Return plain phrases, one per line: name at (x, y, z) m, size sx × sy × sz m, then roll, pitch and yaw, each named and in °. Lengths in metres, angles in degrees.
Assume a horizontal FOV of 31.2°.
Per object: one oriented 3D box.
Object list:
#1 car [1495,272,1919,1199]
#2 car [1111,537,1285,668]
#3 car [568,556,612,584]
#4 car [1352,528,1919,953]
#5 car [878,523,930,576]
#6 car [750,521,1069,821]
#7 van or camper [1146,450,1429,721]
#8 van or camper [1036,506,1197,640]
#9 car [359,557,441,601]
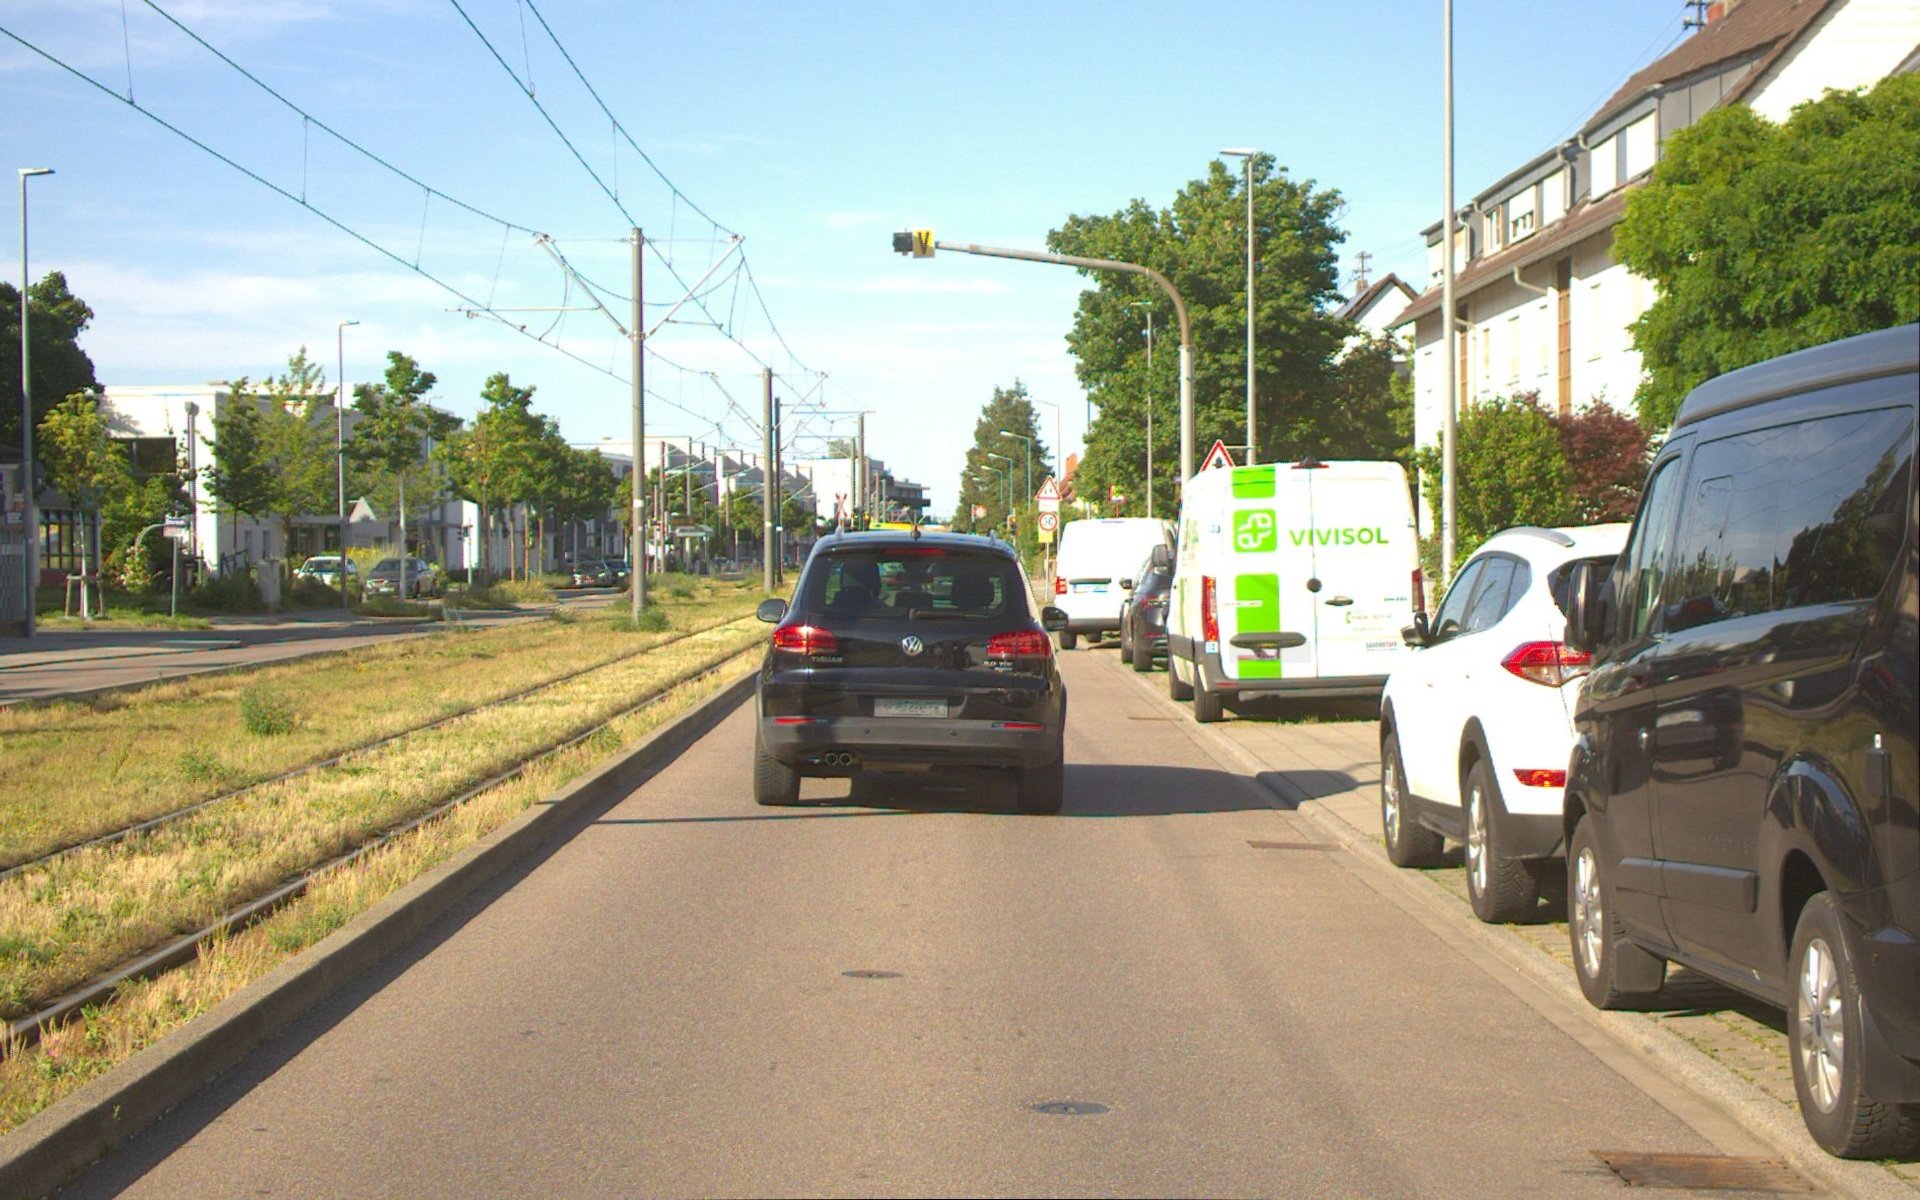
car at (3.013, 0.304, 10.089) m, size 1.959 × 2.137 × 5.336 m, roll -1°, pitch 1°, yaw -1°
car at (2.909, 0.002, 42.962) m, size 1.748 × 1.489 × 5.155 m, roll -2°, pitch 1°, yaw 0°
car at (-19.131, -1.545, 177.789) m, size 1.688 × 1.384 × 4.388 m, roll -2°, pitch 1°, yaw 1°
car at (2.936, 0.524, 15.704) m, size 1.725 × 1.640 × 4.319 m, roll -1°, pitch 1°, yaw -1°
car at (-2.738, -2.459, 168.668) m, size 2.394 × 2.556 × 5.530 m, roll 0°, pitch 1°, yaw 0°
car at (-0.365, 0.382, 21.487) m, size 1.775 × 1.664 × 4.000 m, roll 1°, pitch 1°, yaw -2°
van or camper at (2.974, -0.157, 32.563) m, size 1.993 × 2.263 × 6.305 m, roll -2°, pitch 1°, yaw 0°
van or camper at (2.487, -0.451, 53.417) m, size 2.028 × 1.949 × 5.293 m, roll 0°, pitch 1°, yaw 8°
car at (-19.284, -0.742, 118.622) m, size 1.811 × 1.456 × 4.317 m, roll 1°, pitch 1°, yaw 4°
